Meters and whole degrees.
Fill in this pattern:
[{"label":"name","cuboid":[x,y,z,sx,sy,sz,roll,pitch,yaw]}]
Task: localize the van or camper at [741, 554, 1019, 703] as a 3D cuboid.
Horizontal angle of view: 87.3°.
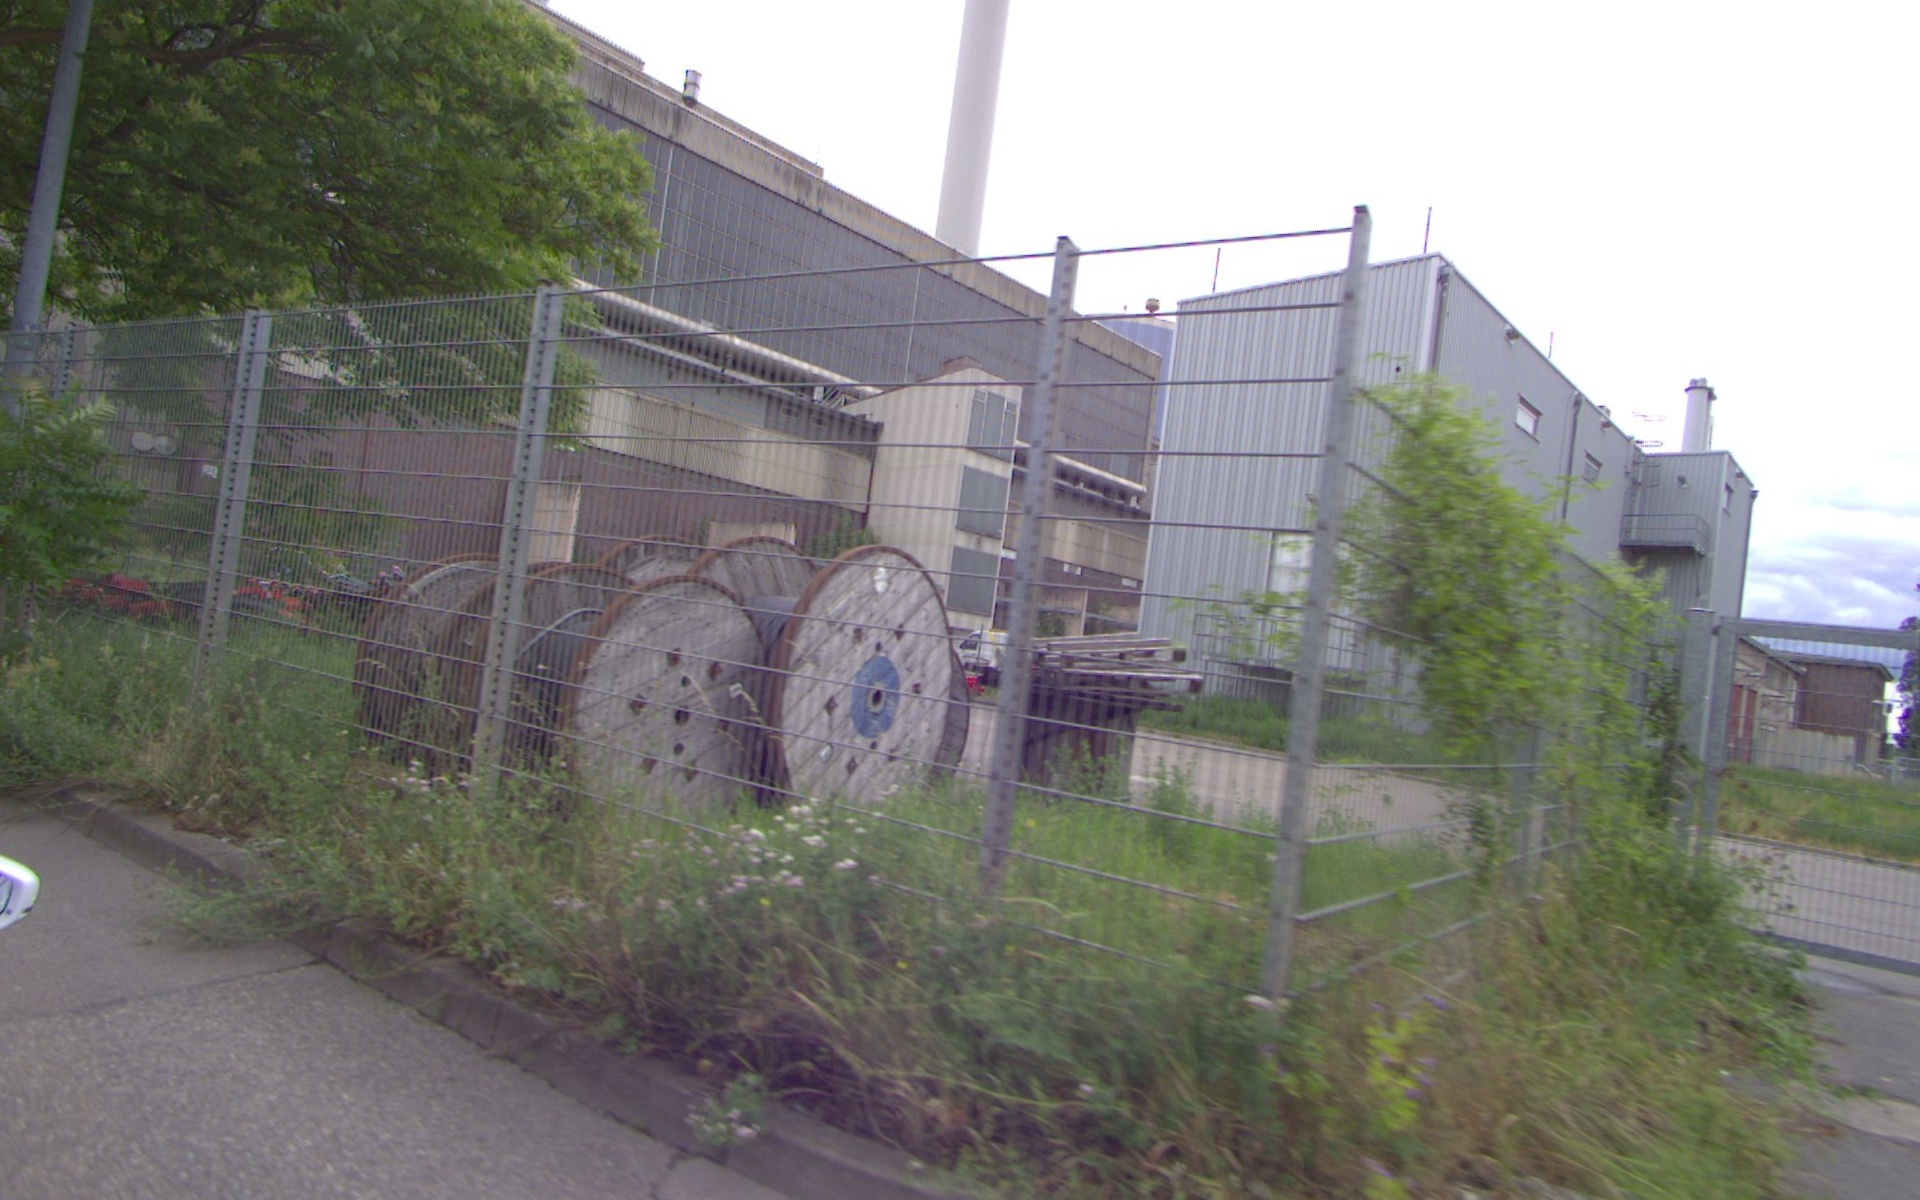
[{"label":"van or camper","cuboid":[-2.583,1.425,39.772,5.389,4.581,11.847,5,-3,26]}]
